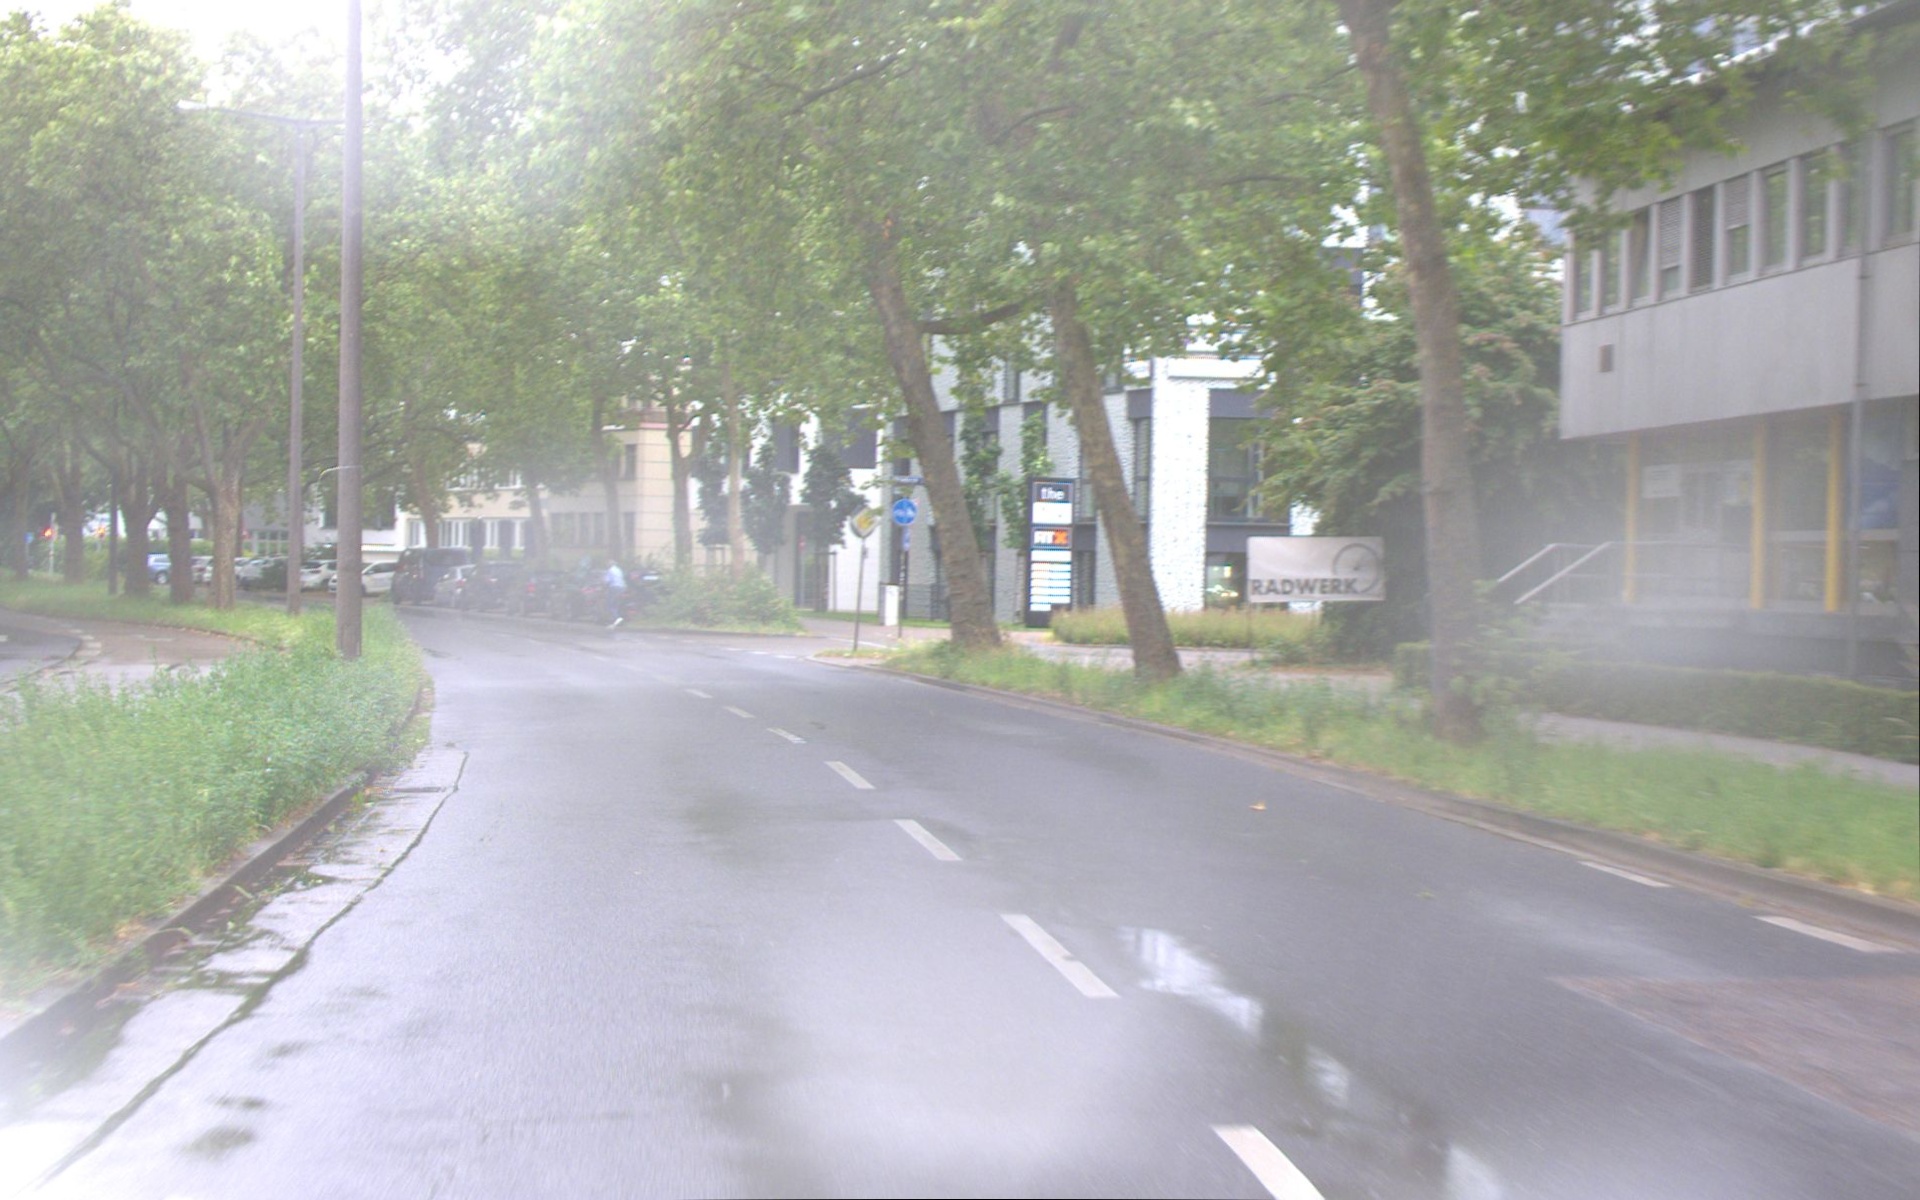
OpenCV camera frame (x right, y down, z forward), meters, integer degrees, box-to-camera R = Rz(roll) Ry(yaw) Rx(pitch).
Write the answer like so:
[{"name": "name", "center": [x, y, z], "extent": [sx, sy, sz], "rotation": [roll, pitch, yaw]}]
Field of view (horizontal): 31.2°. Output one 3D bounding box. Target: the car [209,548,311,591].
[{"name": "car", "center": [-31.473, -1.365, 154.554], "extent": [3.987, 1.825, 2.000], "rotation": [1, 2, -32]}]

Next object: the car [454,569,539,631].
[{"name": "car", "center": [-14.681, -0.021, 108.809], "extent": [1.993, 1.776, 4.002], "rotation": [1, 2, -17]}]

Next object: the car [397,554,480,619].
[{"name": "car", "center": [-18.273, -0.489, 120.375], "extent": [2.121, 2.081, 4.002], "rotation": [1, 2, -19]}]

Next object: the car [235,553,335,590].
[{"name": "car", "center": [-29.424, -1.262, 149.832], "extent": [3.867, 1.499, 1.888], "rotation": [1, 2, -29]}]

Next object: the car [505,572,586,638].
[{"name": "car", "center": [-12.312, 0.127, 102.022], "extent": [1.993, 1.776, 4.002], "rotation": [1, 2, -12]}]

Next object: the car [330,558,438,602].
[{"name": "car", "center": [-23.108, -0.787, 137.889], "extent": [3.866, 1.645, 1.888], "rotation": [1, 2, -24]}]

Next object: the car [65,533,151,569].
[{"name": "car", "center": [-44.959, -2.590, 181.481], "extent": [3.986, 1.814, 2.000], "rotation": [1, 2, -29]}]

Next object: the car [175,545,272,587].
[{"name": "car", "center": [-34.178, -1.585, 159.516], "extent": [3.986, 1.814, 2.000], "rotation": [1, 2, -29]}]

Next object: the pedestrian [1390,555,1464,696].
[{"name": "pedestrian", "center": [5.670, 0.304, 41.761], "extent": [0.670, 1.662, 0.825], "rotation": [1, 2, -5]}]

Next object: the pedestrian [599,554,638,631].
[{"name": "pedestrian", "center": [-8.767, -0.194, 88.302], "extent": [0.707, 1.943, 0.856], "rotation": [2, 2, 15]}]

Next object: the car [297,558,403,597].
[{"name": "car", "center": [-25.076, -0.919, 141.296], "extent": [3.867, 1.488, 1.888], "rotation": [1, 2, -29]}]
